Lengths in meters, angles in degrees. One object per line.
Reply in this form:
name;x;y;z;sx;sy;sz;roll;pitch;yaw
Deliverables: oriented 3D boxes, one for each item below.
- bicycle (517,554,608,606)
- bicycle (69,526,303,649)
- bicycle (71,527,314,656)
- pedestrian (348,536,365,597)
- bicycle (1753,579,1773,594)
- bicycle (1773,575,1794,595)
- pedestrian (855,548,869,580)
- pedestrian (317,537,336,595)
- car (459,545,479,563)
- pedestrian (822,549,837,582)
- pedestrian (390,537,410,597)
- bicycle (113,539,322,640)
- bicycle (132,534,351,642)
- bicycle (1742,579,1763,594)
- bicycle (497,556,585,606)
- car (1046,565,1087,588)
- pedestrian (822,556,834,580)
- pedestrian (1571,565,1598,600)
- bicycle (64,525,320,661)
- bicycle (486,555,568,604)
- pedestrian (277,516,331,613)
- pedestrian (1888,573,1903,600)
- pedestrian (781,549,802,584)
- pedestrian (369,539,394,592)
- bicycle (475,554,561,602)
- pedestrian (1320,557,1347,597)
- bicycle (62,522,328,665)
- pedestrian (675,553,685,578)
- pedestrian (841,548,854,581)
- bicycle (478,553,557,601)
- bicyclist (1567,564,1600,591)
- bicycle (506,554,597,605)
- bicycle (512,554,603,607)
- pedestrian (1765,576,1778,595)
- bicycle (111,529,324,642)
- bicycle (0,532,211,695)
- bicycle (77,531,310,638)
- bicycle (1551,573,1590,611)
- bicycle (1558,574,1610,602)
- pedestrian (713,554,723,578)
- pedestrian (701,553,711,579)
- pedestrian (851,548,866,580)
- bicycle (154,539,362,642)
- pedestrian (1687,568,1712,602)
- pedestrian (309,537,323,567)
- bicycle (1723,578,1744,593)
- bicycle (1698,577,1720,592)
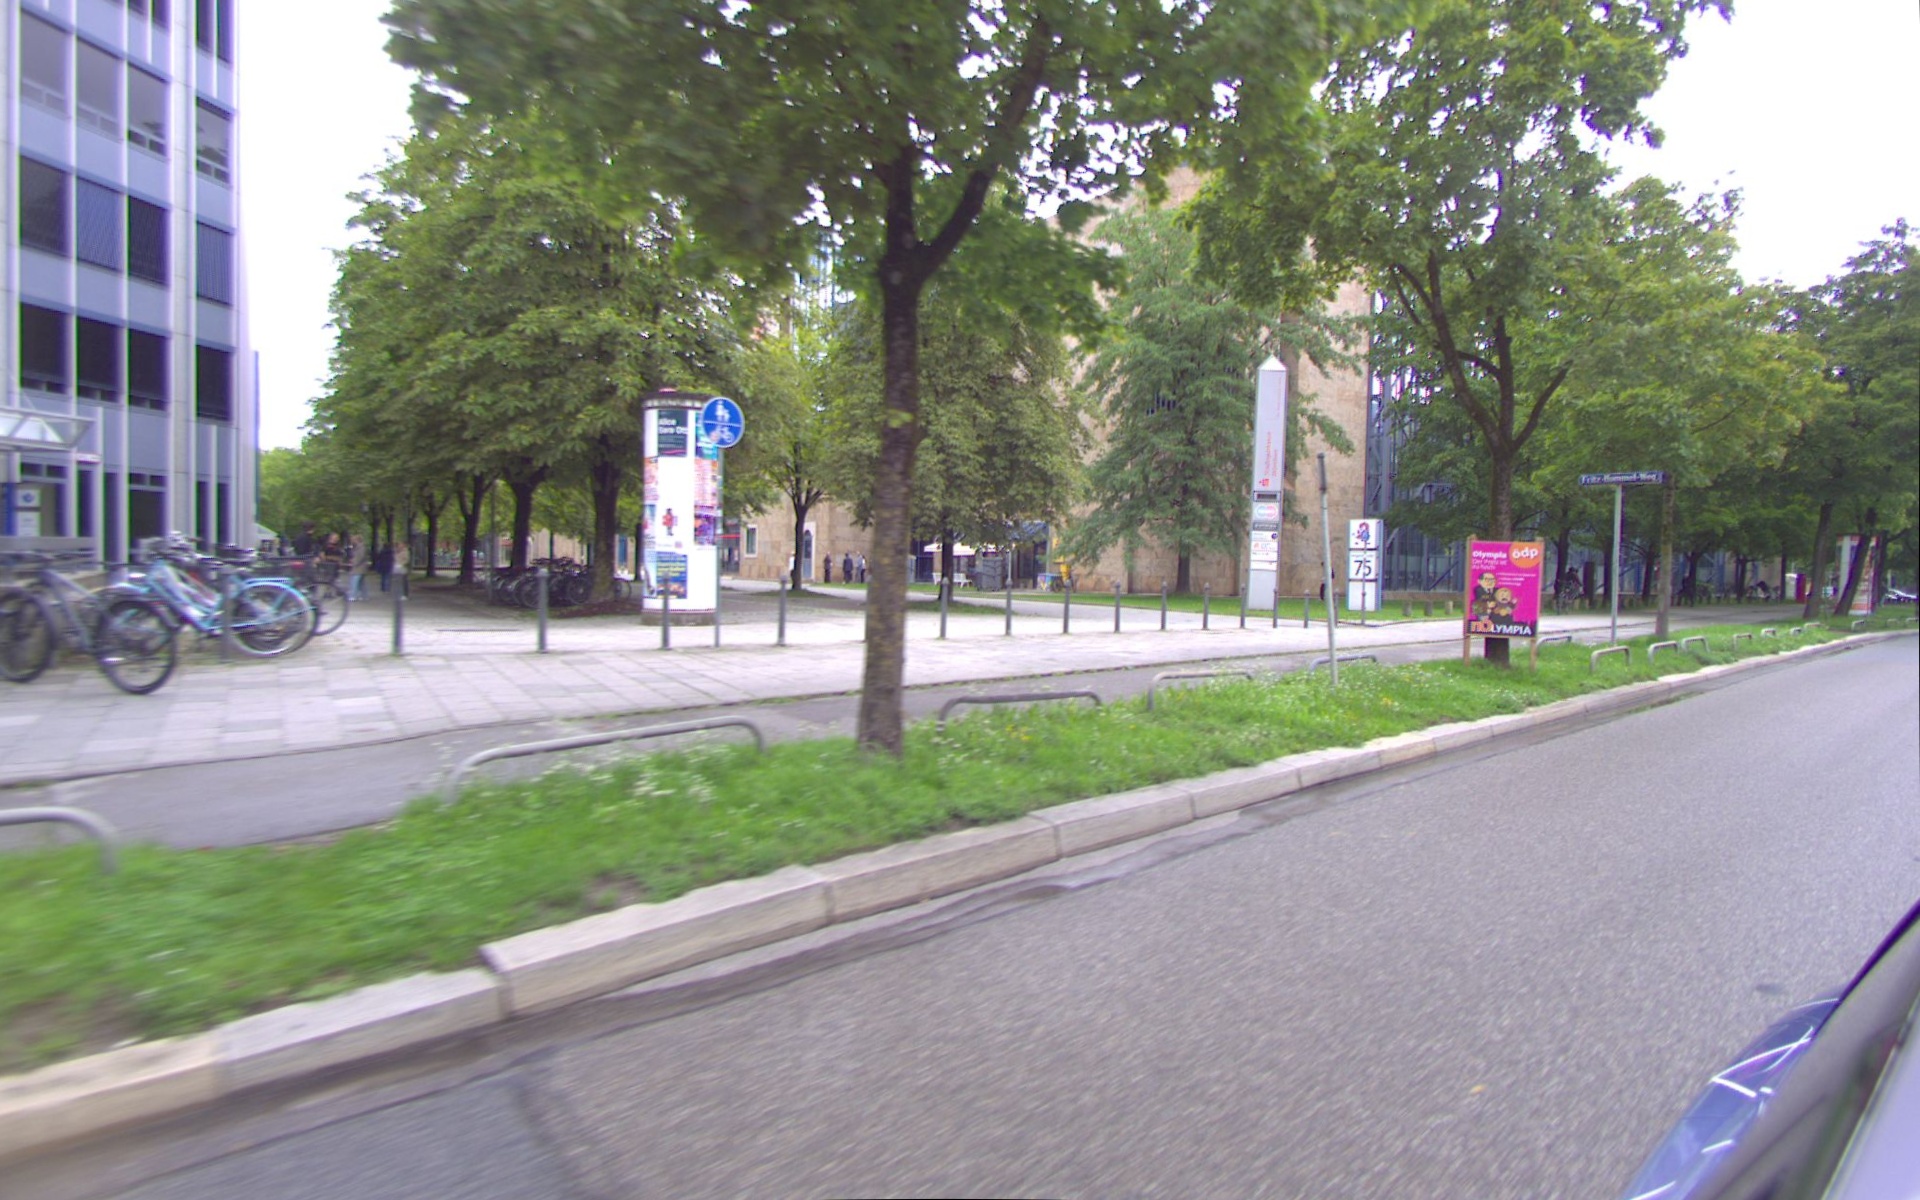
bicycle;-10.109;-0.508;25.819;0.508;1.276;2.141;3;2;44
bicycle;-8.090;-0.139;10.659;1.919;1.203;0.489;0;2;-39
bicycle;-7.677;-0.097;10.212;1.919;1.203;0.489;0;2;-39
pedestrian;-15.914;-0.890;26.689;0.346;1.591;0.310;1;2;-22
bicycle;51.835;-0.854;65.314;2.102;0.952;0.513;0;2;-38
bicycle;52.557;-0.965;64.578;2.102;1.207;0.513;-1;3;-38
pedestrian;-5.345;-1.956;55.175;0.591;1.699;0.495;3;2;44
pedestrian;-16.602;-0.893;26.528;0.386;1.510;0.385;1;2;-28
car;-59.143;-5.543;121.850;1.959;2.039;4.005;-1;1;-28
pedestrian;-6.884;-1.831;53.308;0.585;1.699;0.501;2;2;16
pedestrian;-15.005;-0.891;27.123;0.401;1.591;0.348;0;2;-40
bicycle;-9.516;-0.145;13.049;0.577;1.203;2.108;3;3;44
bicycle;-8.612;-0.156;12.222;0.445;1.203;2.108;3;2;44
bicycle;51.457;-0.858;65.702;2.102;0.952;0.513;0;2;-38
bicycle;-11.083;-0.515;26.822;0.508;1.276;2.141;3;2;44
car;5.001;-1.099;47.420;2.042;1.026;0.677;-2;4;-41
pedestrian;-7.264;-1.780;55.651;0.418;1.298;0.507;3;2;39
pedestrian;30.894;-0.887;50.093;0.845;1.665;0.740;0;4;-30
bicycle;-7.326;-0.073;9.747;1.919;1.203;0.489;0;2;-39
bicycle;-11.600;-0.552;27.166;0.508;1.276;1.990;3;2;44
pedestrian;-12.433;-0.675;19.190;0.754;1.794;0.690;1;2;-25
pedestrian;61.812;-0.914;66.873;0.649;1.743;0.528;-1;4;-40
pedestrian;-8.418;-1.683;50.575;0.849;1.699;0.589;0;2;-36
pedestrian;-18.586;-1.096;32.520;0.614;1.678;0.592;0;2;-38
bicycle;-12.334;-0.621;28.294;0.552;1.276;2.141;3;2;44
pedestrian;15.754;-0.987;42.718;0.861;1.666;0.573;1;2;-7
bicycle;-6.993;-0.071;9.345;1.919;1.203;0.489;0;2;-39
pedestrian;-18.281;-2.260;66.056;0.584;1.588;0.421;1;2;-25
pedestrian;-5.941;-1.875;53.411;0.581;1.699;0.504;1;2;-15
bicycle;-12.092;-0.628;27.691;0.508;1.276;1.924;3;2;44
bicyclist;26.883;-0.986;43.652;0.942;1.143;0.726;2;2;4
bicycle;-10.549;-0.524;26.196;0.508;1.276;2.141;3;2;44
bicycle;-9.950;-0.487;25.082;2.022;1.276;0.607;-1;2;-44
pedestrian;51.764;-0.948;64.555;0.418;1.193;0.507;-1;4;-36
bicycle;-8.393;-0.166;11.514;1.919;1.203;0.447;0;2;-39
bicycle;-7.030;0.075;7.992;1.999;1.112;0.579;3;4;10
bicycle;-10.146;-0.217;13.502;0.508;1.310;2.439;3;2;44
bicycle;21.269;-0.294;35.259;1.888;1.265;0.621;-1;3;-42
bicycle;26.915;-0.508;43.666;1.735;1.143;0.726;2;2;4
pedestrian;-16.267;-2.295;68.013;0.504;1.588;0.421;1;2;-29
pedestrian;-16.655;-2.245;66.371;0.503;1.651;0.507;1;2;-27
pedestrian;-5.421;-1.918;54.154;0.582;1.699;0.563;0;2;-37
bicycle;-8.812;-0.138;12.786;0.511;1.203;2.108;3;2;44
pedestrian;37.672;-0.764;51.558;0.632;1.665;0.740;0;4;-29
pedestrian;-36.474;-2.711;57.319;0.475;1.678;0.484;1;2;-7
bicycle;50.228;-0.933;65.692;1.730;0.952;0.619;0;2;-38
bicycle;48.976;-1.022;66.161;2.026;0.952;0.572;-1;3;-38
